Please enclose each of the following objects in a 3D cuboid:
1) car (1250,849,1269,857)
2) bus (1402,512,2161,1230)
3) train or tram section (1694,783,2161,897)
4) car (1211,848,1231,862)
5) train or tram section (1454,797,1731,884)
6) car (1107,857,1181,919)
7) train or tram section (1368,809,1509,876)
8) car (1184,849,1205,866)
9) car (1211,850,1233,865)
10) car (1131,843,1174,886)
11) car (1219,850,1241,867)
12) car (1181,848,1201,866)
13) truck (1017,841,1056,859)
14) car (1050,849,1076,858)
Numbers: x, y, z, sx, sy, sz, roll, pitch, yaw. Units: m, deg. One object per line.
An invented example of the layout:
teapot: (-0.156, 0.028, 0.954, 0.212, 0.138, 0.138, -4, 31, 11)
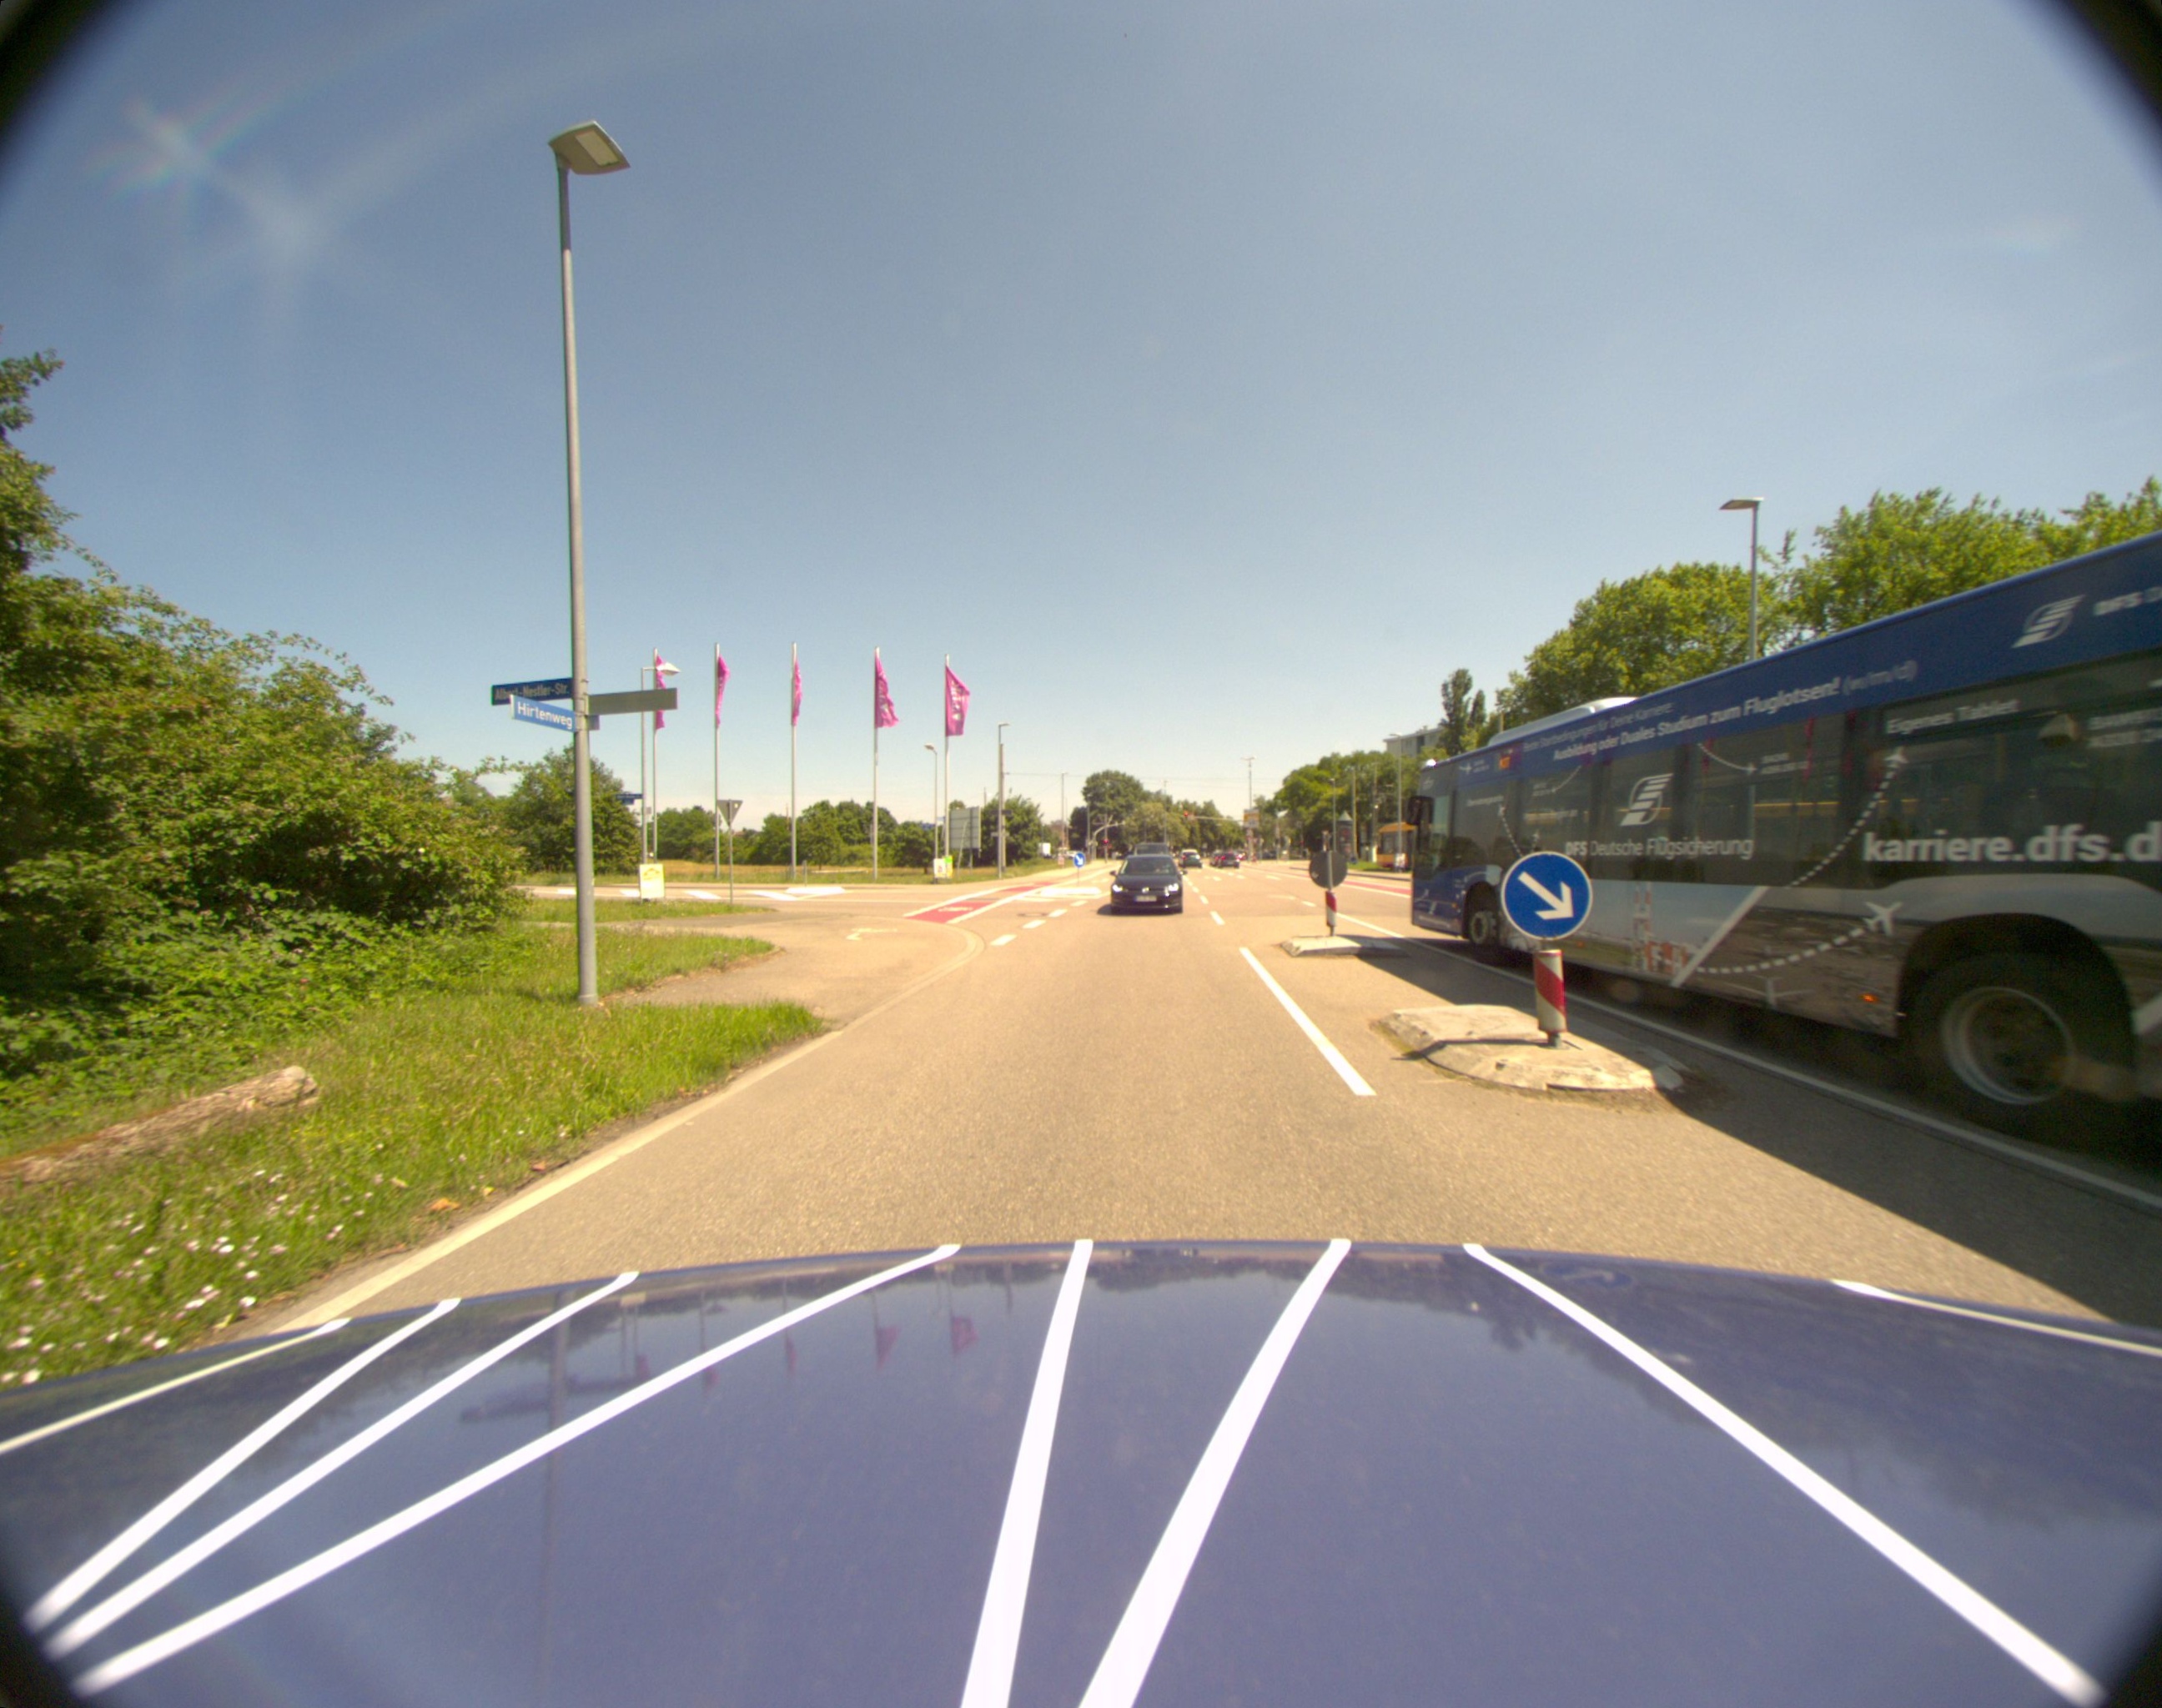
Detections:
car: (34.217, -0.232, 145.914, 3.486, 1.419, 1.586, -1, -2, 11)
bus: (6.163, 0.076, 6.202, 2.755, 3.027, 11.941, 1, 0, 4)
train or tram section: (32.463, -0.503, 28.978, 14.005, 3.737, 3.033, 1, 0, 38)
car: (15.410, 0.111, 83.777, 1.794, 1.447, 4.415, 0, 0, 7)
train or tram section: (24.958, -0.605, 38.301, 3.030, 3.737, 11.591, 1, 0, -26)
car: (1.728, 0.808, 19.694, 1.707, 1.396, 4.056, 0, 0, 7)
train or tram section: (22.647, -0.648, 49.414, 3.024, 3.737, 12.993, 1, 0, 0)
car: (10.293, 0.306, 69.163, 1.726, 1.454, 3.992, -1, 0, 7)
car: (13.838, 0.355, 74.638, 1.763, 1.448, 4.287, 0, 0, 5)
car: (3.515, 0.466, 36.963, 1.940, 1.920, 4.848, 0, 0, 6)
car: (12.981, 0.355, 66.381, 1.625, 1.447, 3.503, 1, 1, 6)
car: (11.006, 0.291, 76.361, 1.815, 1.713, 4.833, -1, 0, 6)
truck: (-8.762, -0.781, 149.594, 7.689, 3.511, 2.594, 0, -2, 37)
car: (-3.276, -0.090, 135.175, 4.399, 1.567, 1.879, 0, 0, 37)
